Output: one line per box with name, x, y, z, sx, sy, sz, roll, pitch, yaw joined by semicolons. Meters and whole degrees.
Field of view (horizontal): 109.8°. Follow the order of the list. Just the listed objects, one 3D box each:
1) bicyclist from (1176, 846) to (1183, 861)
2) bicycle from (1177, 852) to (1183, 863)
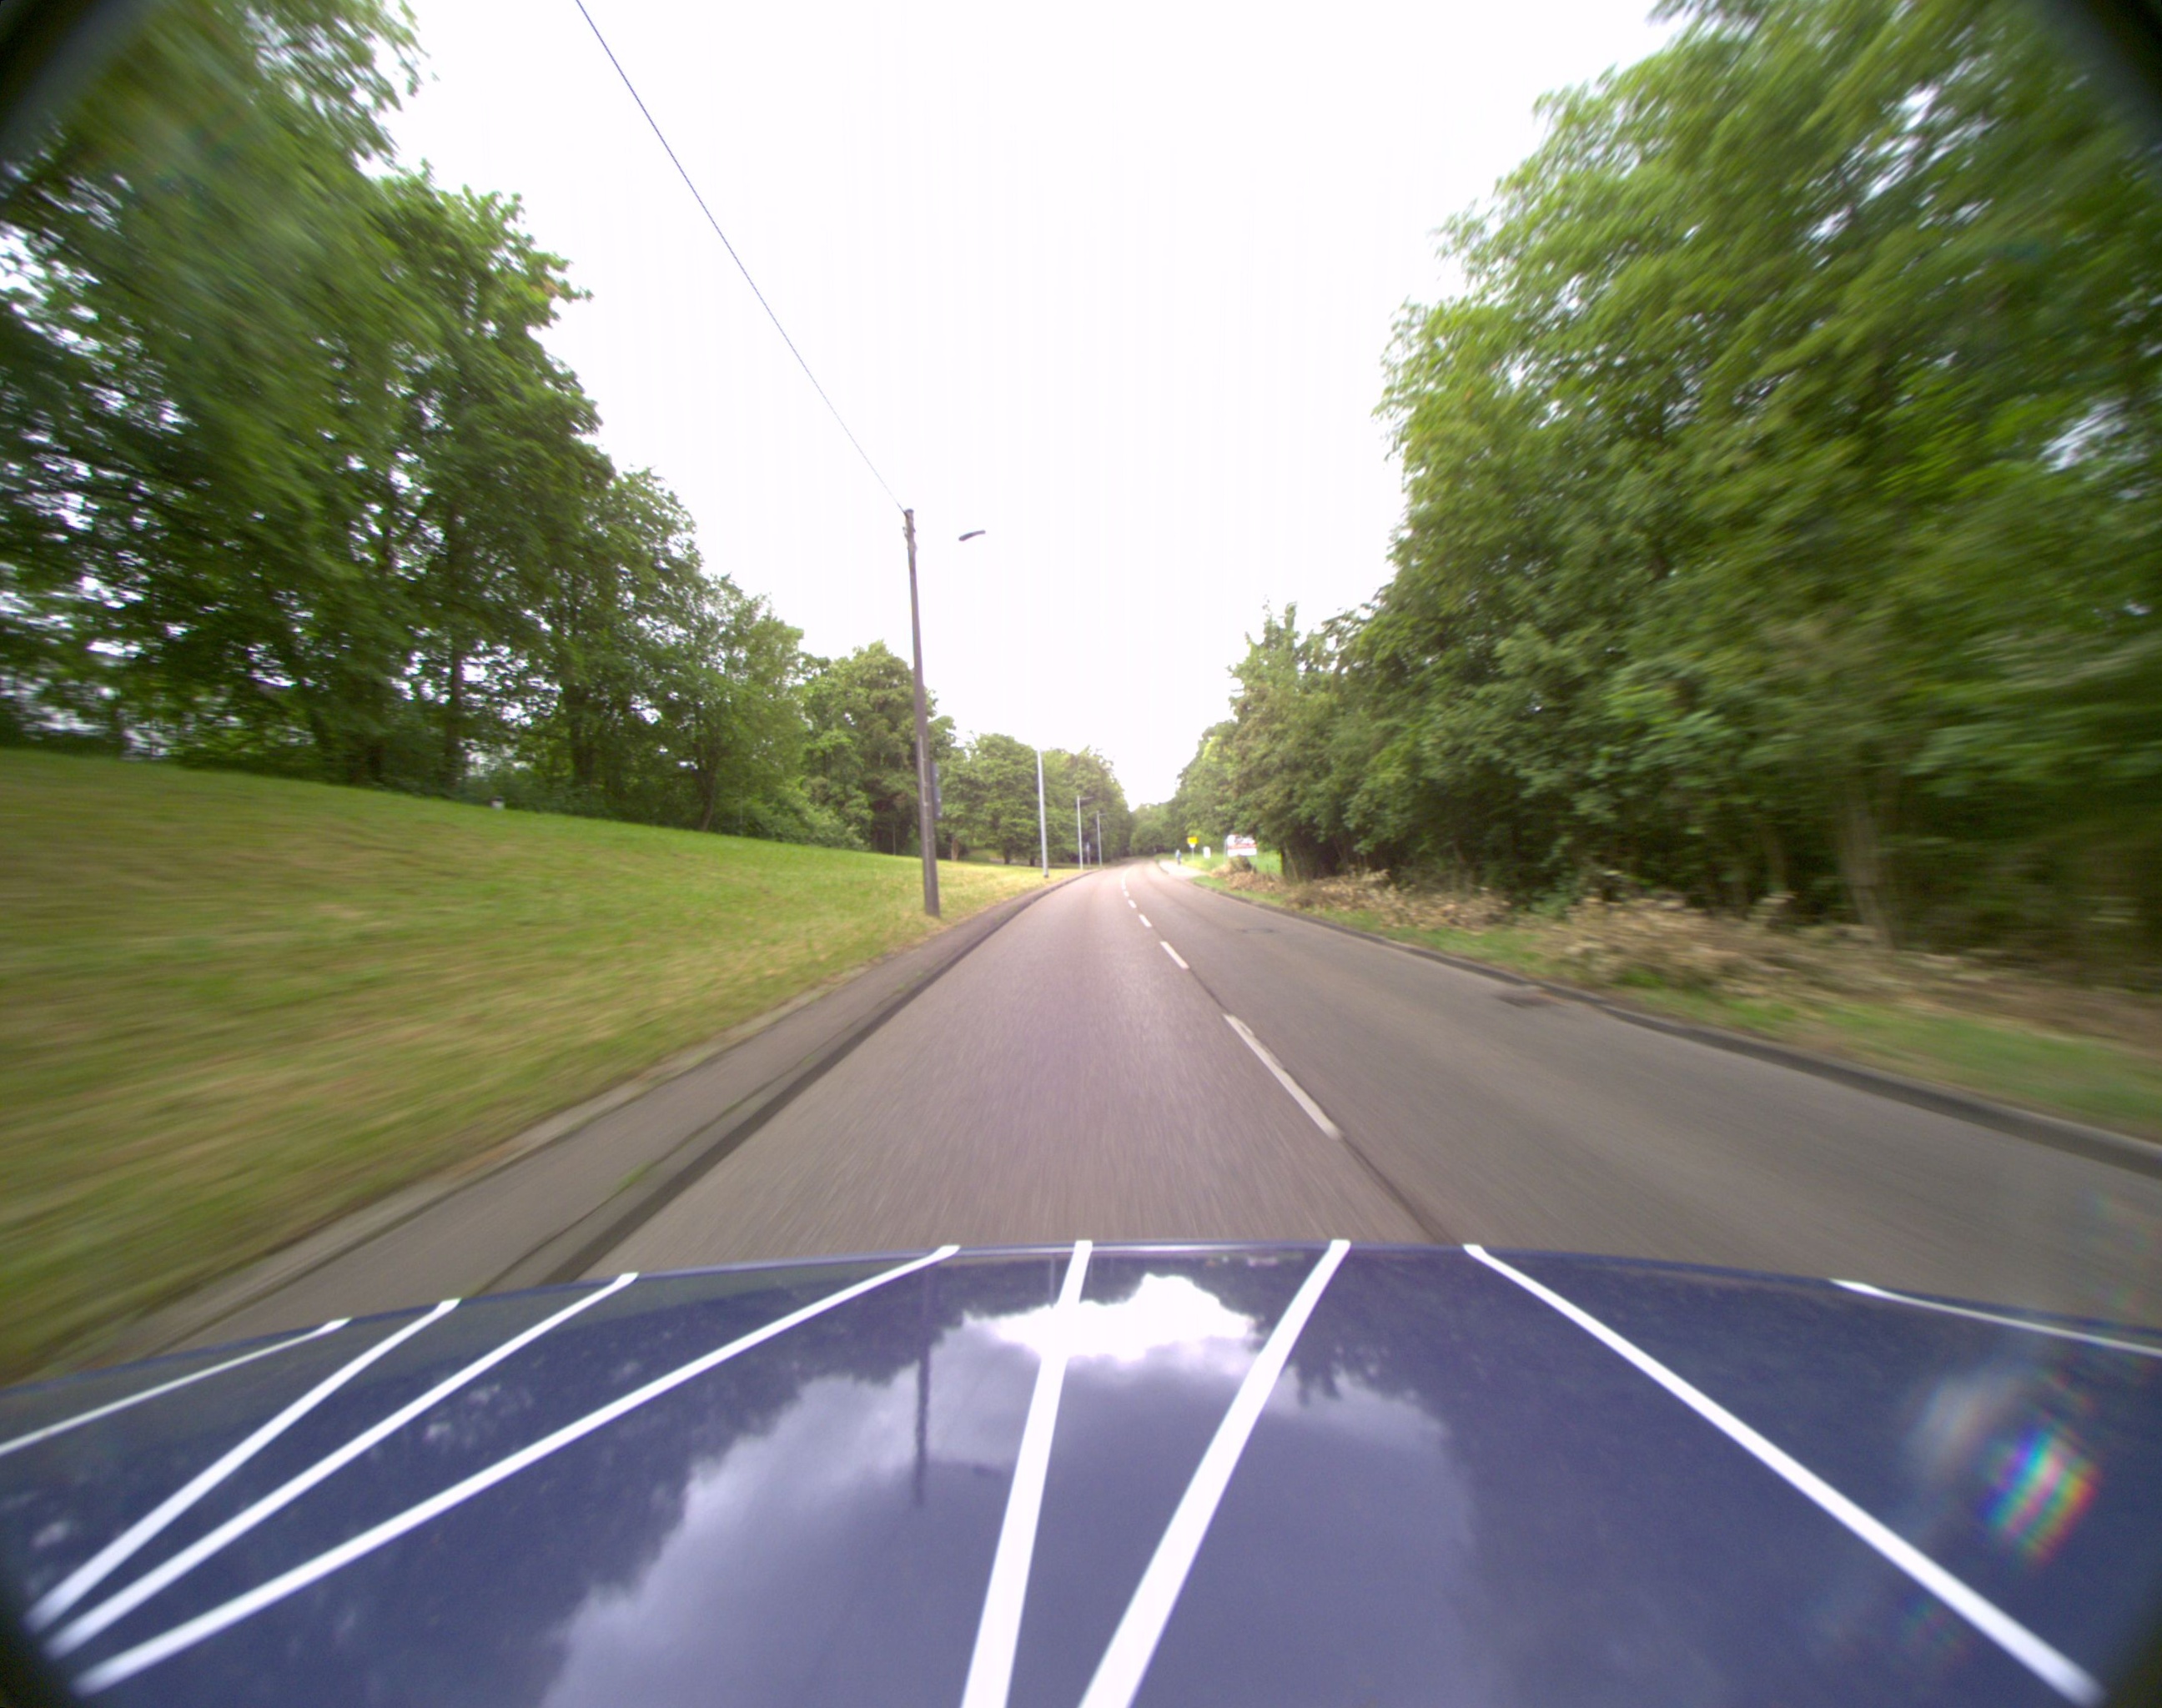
bicyclist;10.717;-0.044;82.328;0.667;1.511;1.271;-3;0;8
bicycle;10.740;0.376;82.332;0.667;1.068;2.147;-3;0;8
